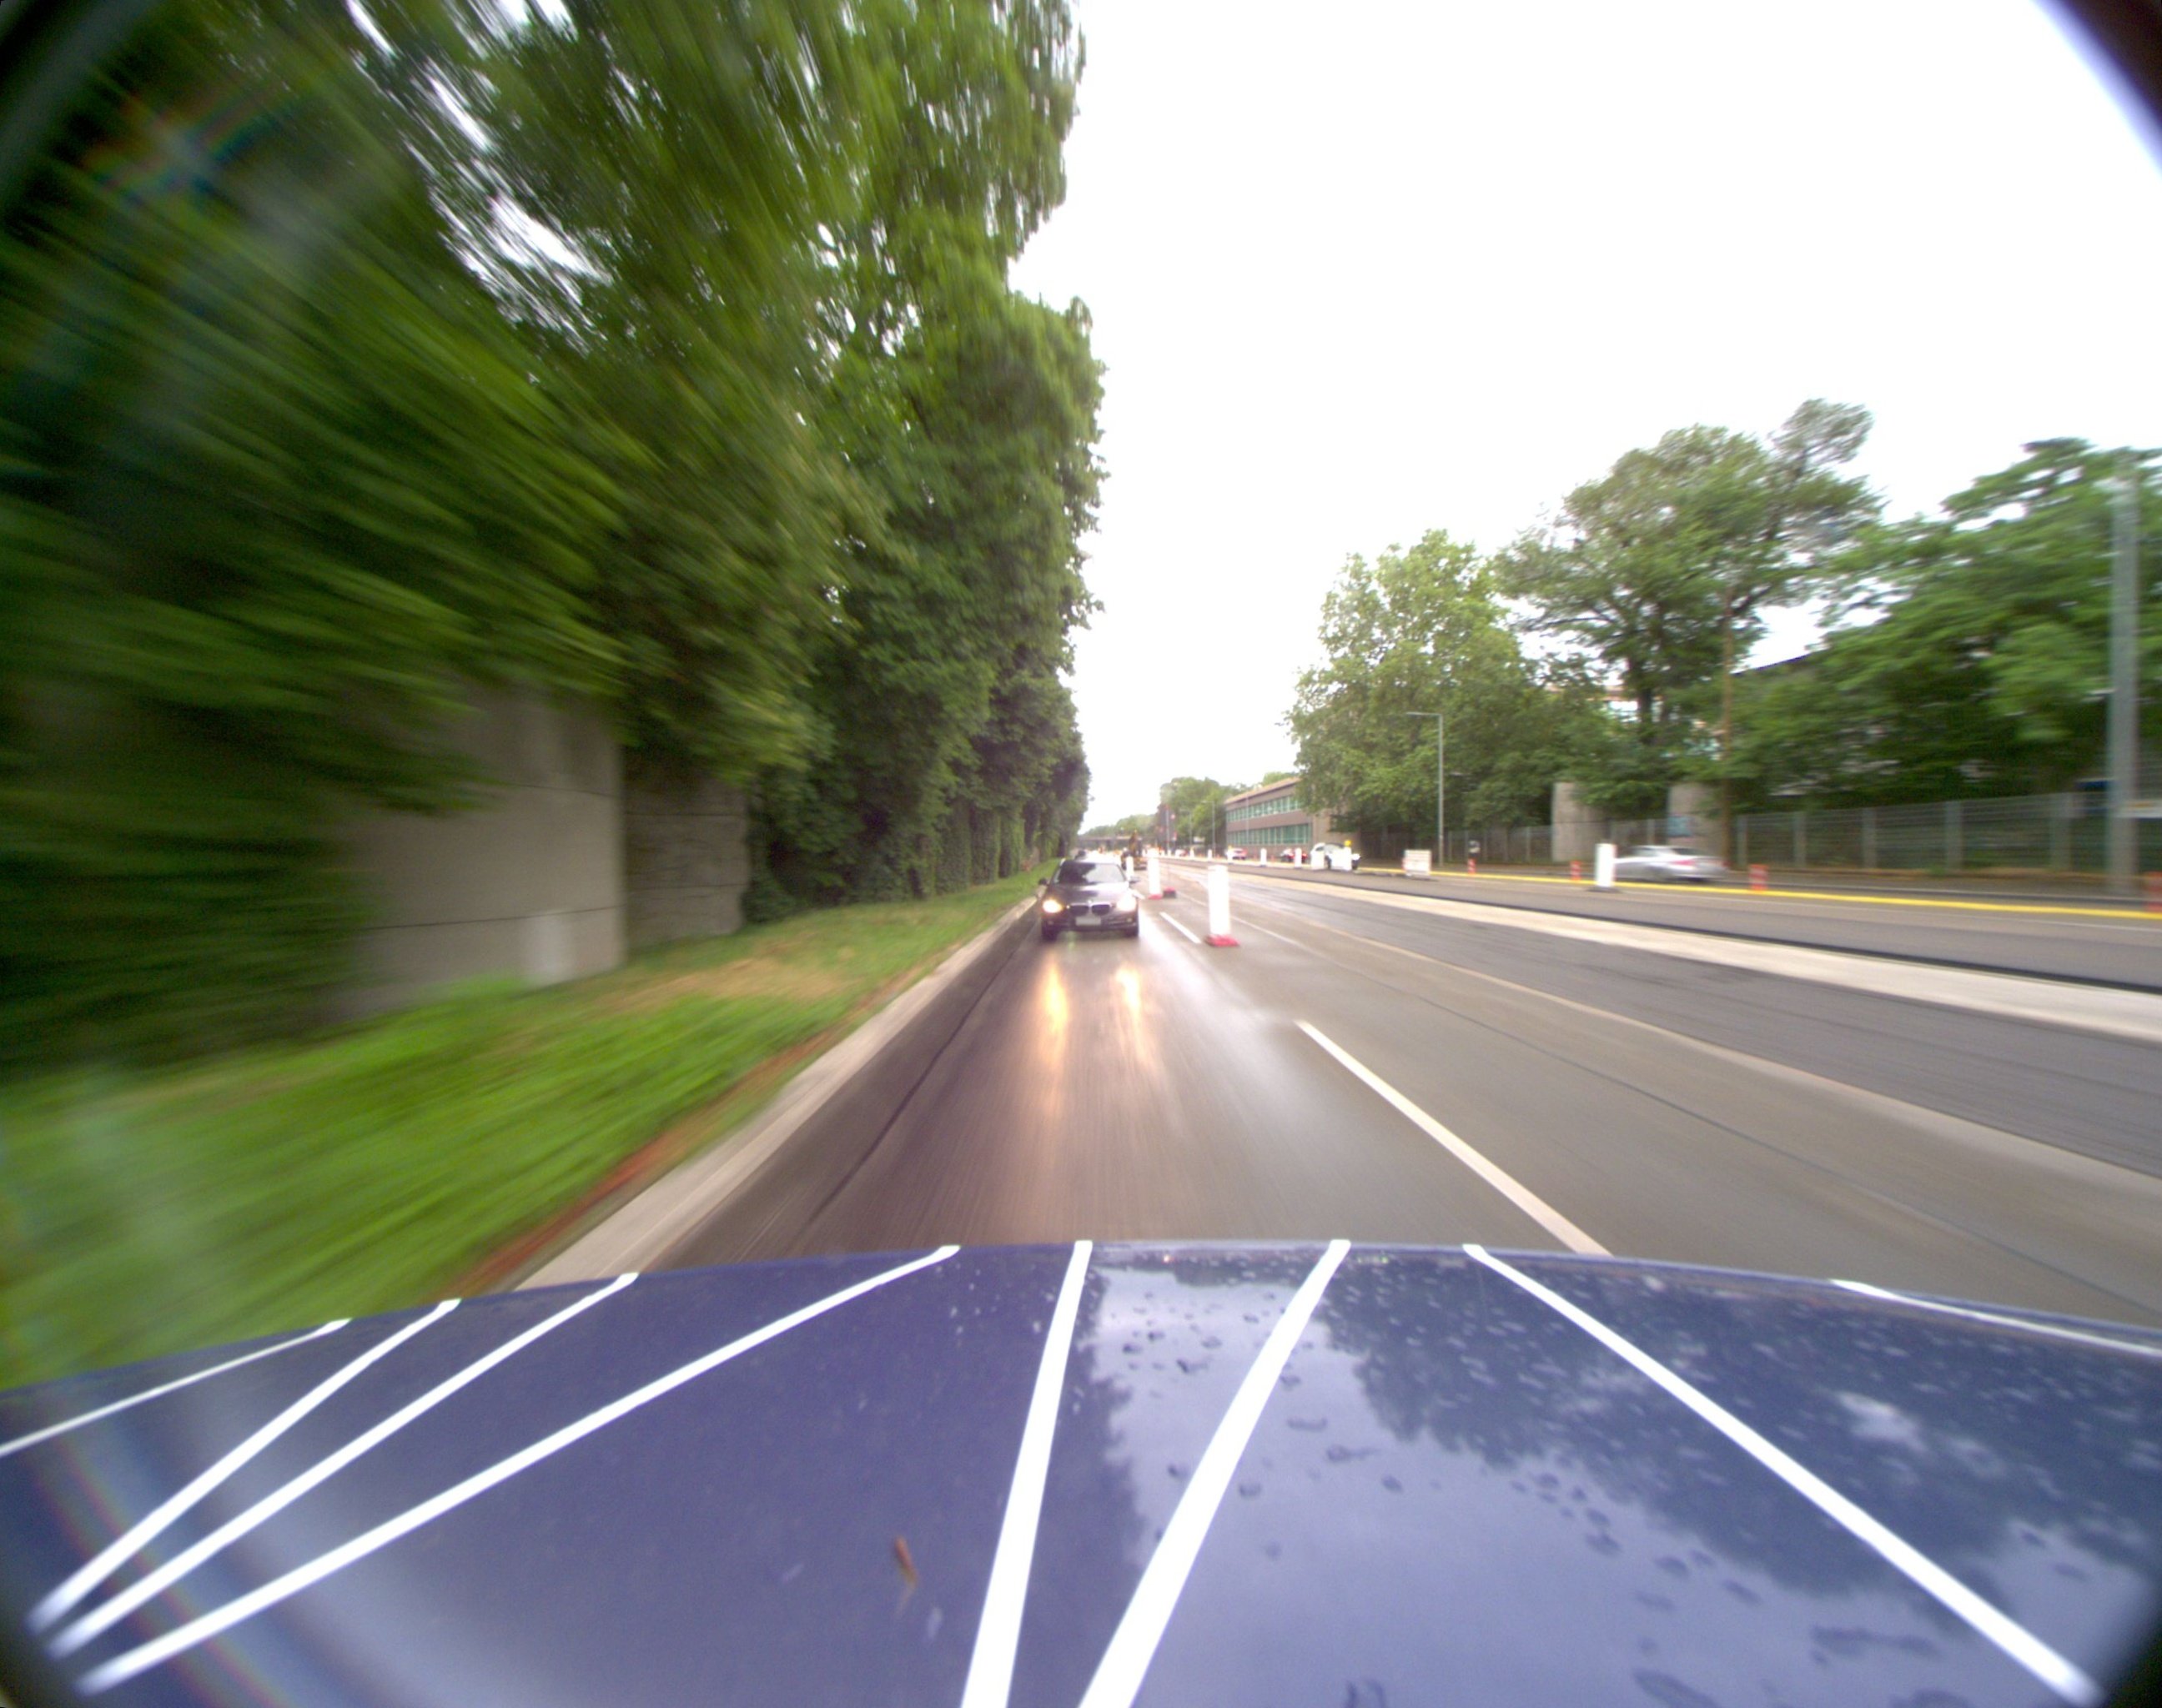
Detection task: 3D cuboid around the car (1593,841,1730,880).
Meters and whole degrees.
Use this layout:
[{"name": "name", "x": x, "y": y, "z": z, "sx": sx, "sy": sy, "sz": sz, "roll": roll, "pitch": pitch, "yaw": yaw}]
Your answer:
[{"name": "car", "x": 21.163, "y": 0.203, "z": 27.980, "sx": 1.671, "sy": 1.307, "sz": 4.454, "roll": 1, "pitch": 1, "yaw": 1}]

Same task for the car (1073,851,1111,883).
[{"name": "car", "x": 0.556, "y": 0.628, "z": 38.287, "sx": 1.742, "sy": 1.454, "sz": 4.458, "roll": -1, "pitch": 1, "yaw": 1}]

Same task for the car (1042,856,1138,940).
[{"name": "car", "x": 0.195, "y": 0.815, "z": 16.268, "sx": 1.742, "sy": 1.454, "sz": 4.458, "roll": -1, "pitch": 1, "yaw": 1}]

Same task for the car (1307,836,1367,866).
[{"name": "car", "x": 15.866, "y": -0.166, "z": 47.317, "sx": 1.999, "sy": 1.696, "sz": 4.984, "roll": 3, "pitch": 0, "yaw": 0}]

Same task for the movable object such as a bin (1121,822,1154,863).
[{"name": "movable object such as a bin", "x": 4.510, "y": -0.924, "z": 61.587, "sx": 1.999, "sy": 3.084, "sz": 5.622, "roll": -1, "pitch": 1, "yaw": -2}]

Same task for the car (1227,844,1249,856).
[{"name": "car", "x": 19.256, "y": -0.547, "z": 93.366, "sx": 1.841, "sy": 1.426, "sz": 4.148, "roll": -1, "pitch": 1, "yaw": 0}]
